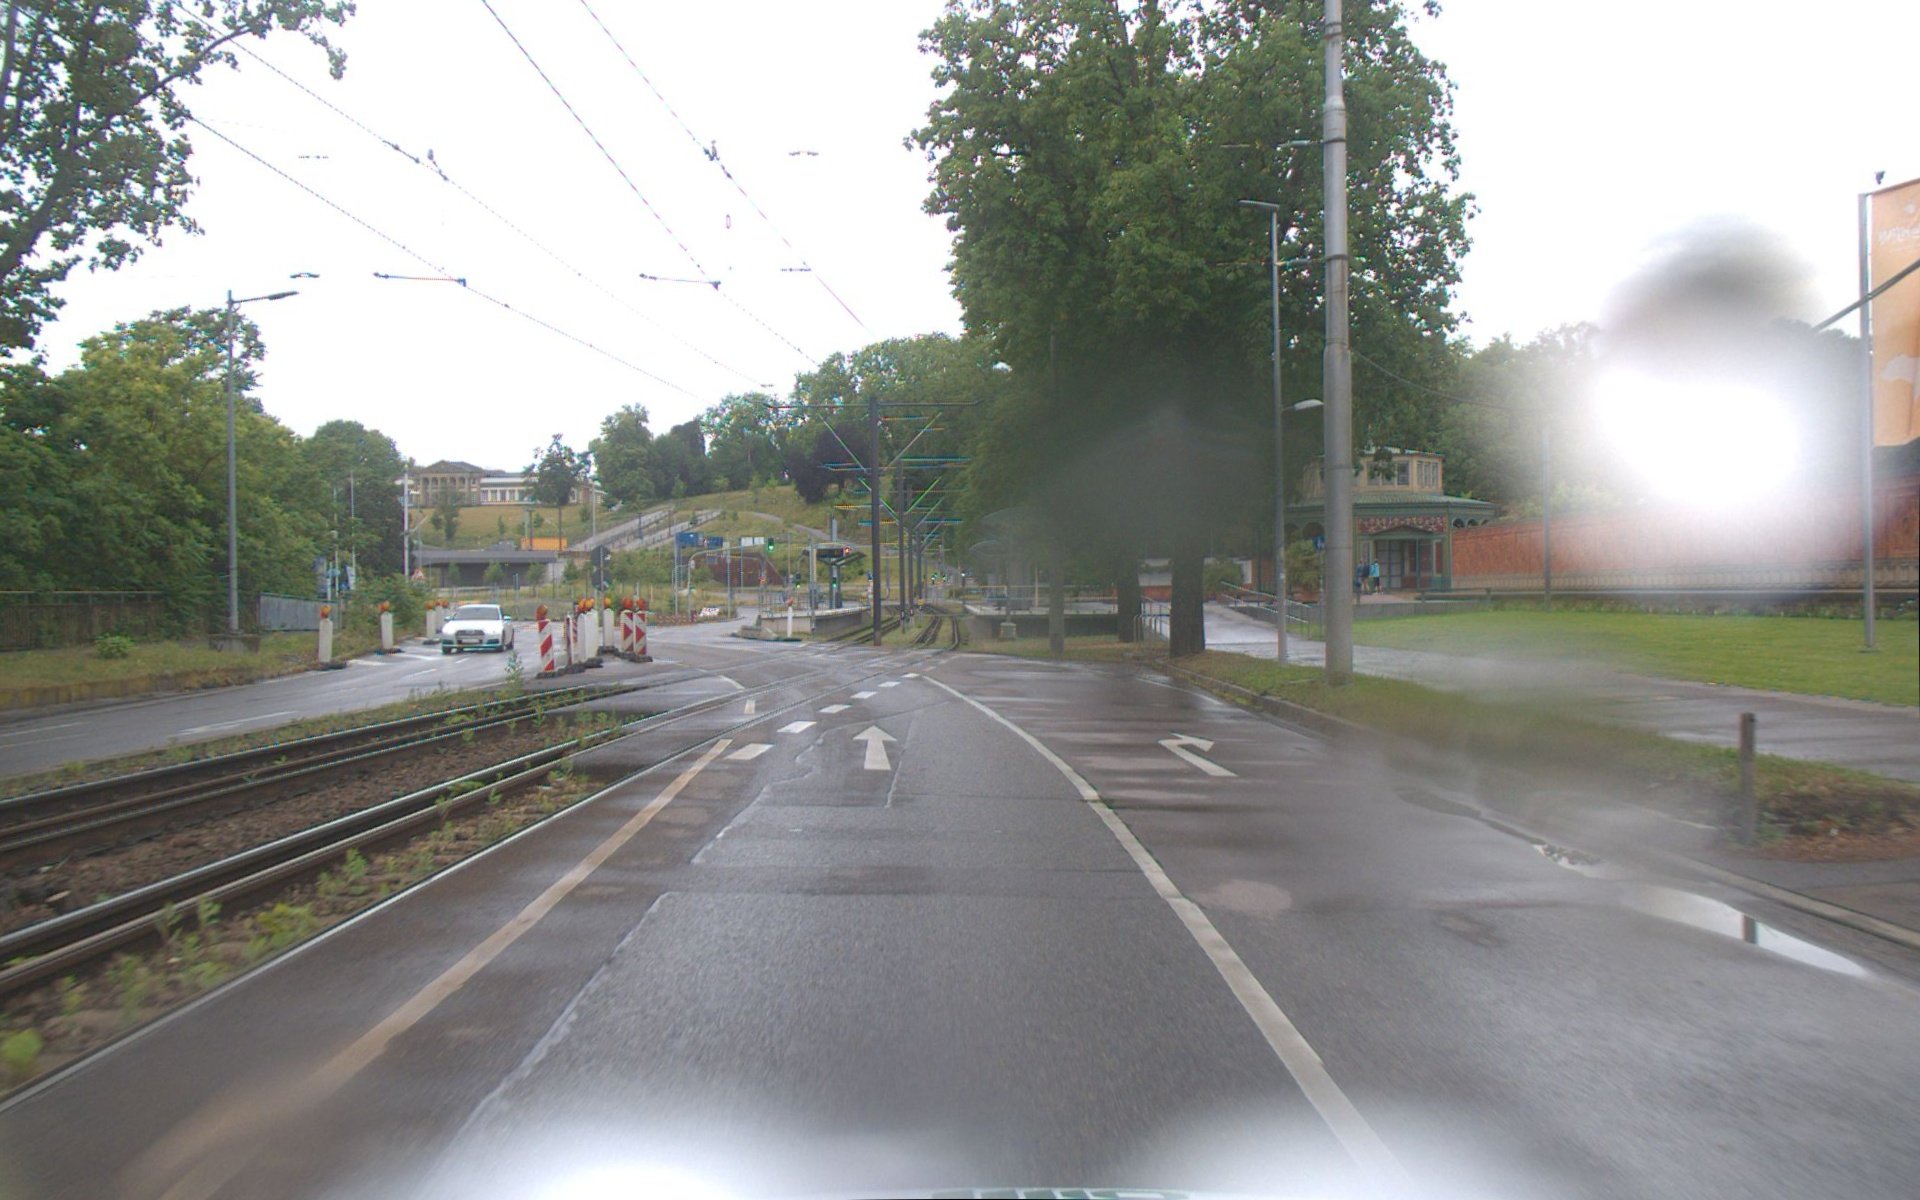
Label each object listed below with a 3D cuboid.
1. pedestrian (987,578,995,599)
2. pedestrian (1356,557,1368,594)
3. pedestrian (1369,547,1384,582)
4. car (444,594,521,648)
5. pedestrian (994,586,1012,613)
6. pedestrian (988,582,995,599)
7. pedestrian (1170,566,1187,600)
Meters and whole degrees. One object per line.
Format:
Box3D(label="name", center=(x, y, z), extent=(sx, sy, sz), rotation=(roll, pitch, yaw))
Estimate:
Box3D(label="pedestrian", center=(1.904, -0.711, 101.222), extent=(0.428, 1.247, 0.551), rotation=(-2, 0, 0))
Box3D(label="pedestrian", center=(19.371, -1.183, 79.743), extent=(0.520, 1.741, 0.696), rotation=(1, -2, 11))
Box3D(label="pedestrian", center=(19.926, -1.702, 79.143), extent=(0.540, 1.686, 0.468), rotation=(-1, -1, 34))
Box3D(label="car", center=(-14.788, 0.626, 51.415), extent=(1.677, 1.525, 4.709), rotation=(-2, 1, -9))
Box3D(label="pedestrian", center=(1.851, -0.005, 71.541), extent=(0.590, 1.138, 0.518), rotation=(3, -1, -16))
Box3D(label="pedestrian", center=(1.917, -0.599, 100.449), extent=(0.428, 1.026, 0.551), rotation=(-2, 0, 0))
Box3D(label="pedestrian", center=(12.239, -0.958, 92.553), extent=(0.706, 1.821, 1.182), rotation=(-3, 0, 0))
